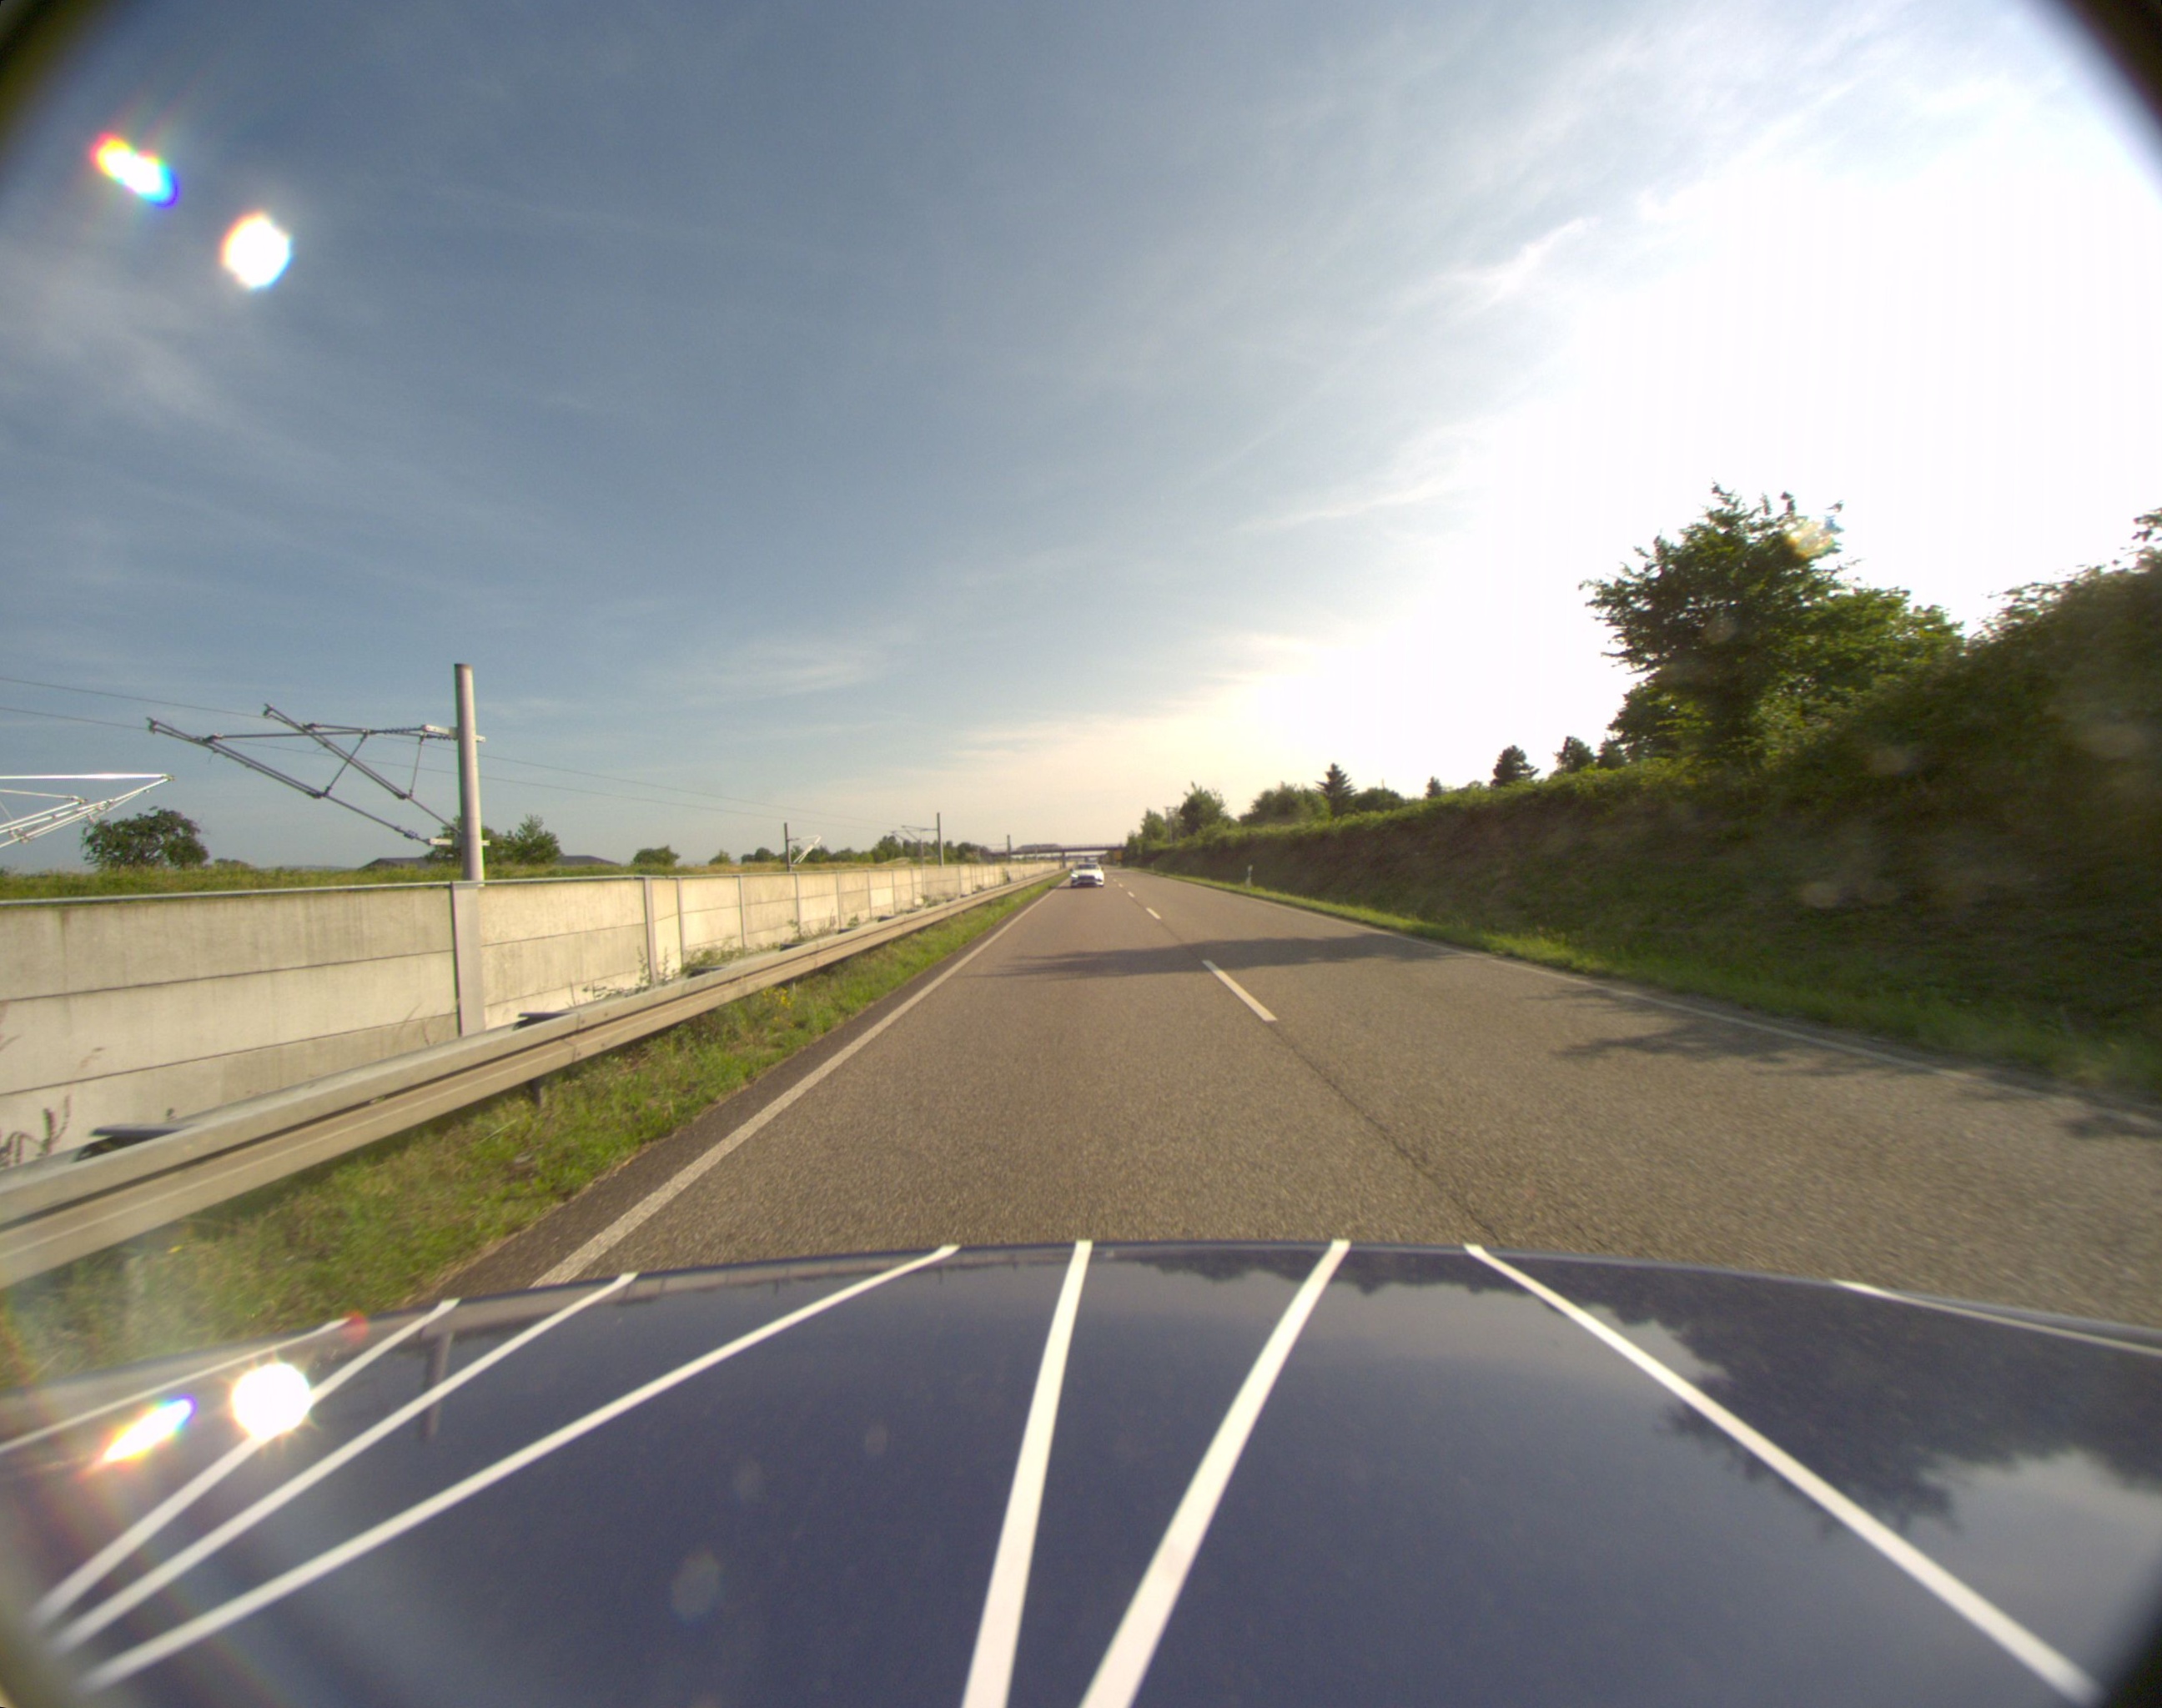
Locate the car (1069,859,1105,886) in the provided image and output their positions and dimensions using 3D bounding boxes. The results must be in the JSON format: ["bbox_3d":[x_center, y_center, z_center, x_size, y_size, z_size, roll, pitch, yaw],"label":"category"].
[{"bbox_3d":[0.389,1.043,44.500,1.952,1.430,4.612,-2,0,1],"label":"car"}]
